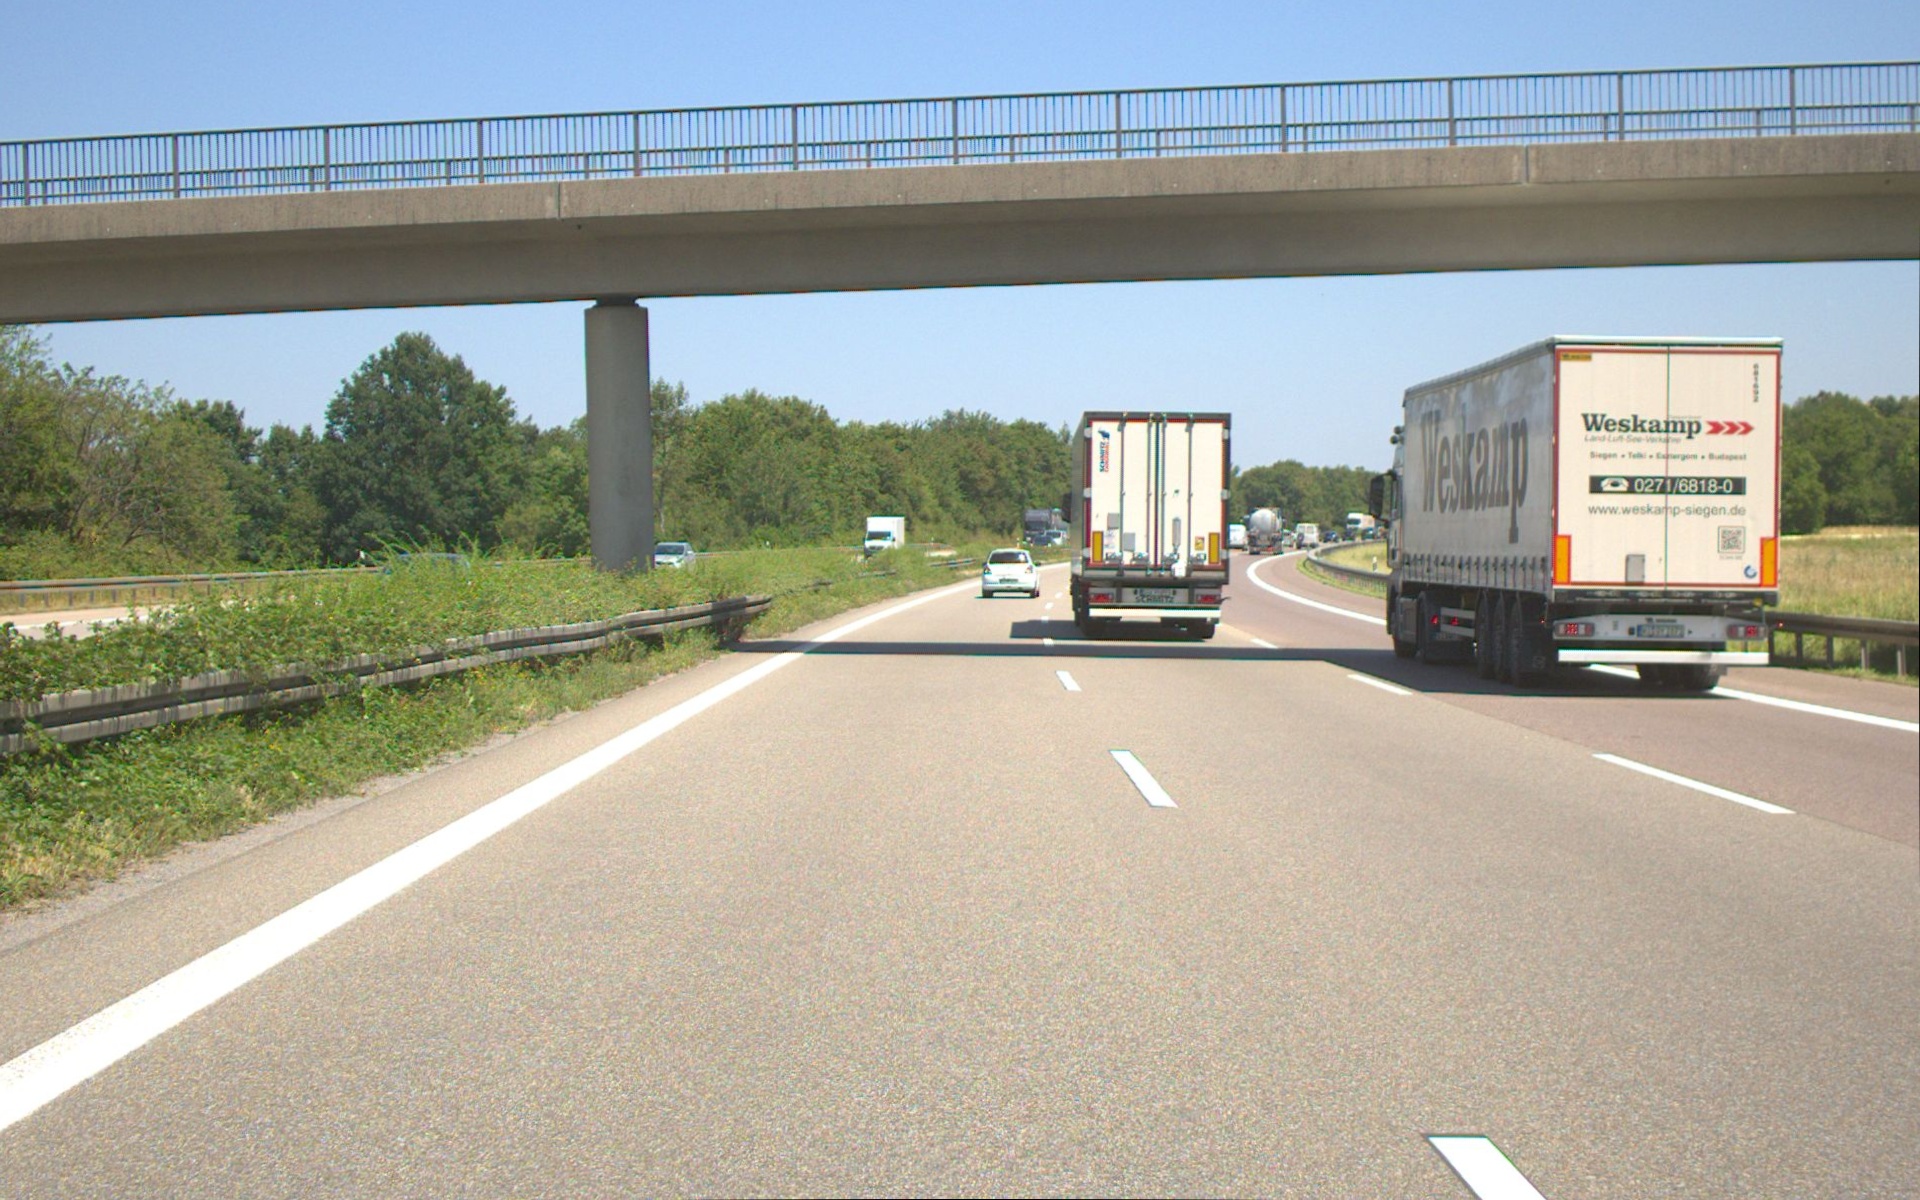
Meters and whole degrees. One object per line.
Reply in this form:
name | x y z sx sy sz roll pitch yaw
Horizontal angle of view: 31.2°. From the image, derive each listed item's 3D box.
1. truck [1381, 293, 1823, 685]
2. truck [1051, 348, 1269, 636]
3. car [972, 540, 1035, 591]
truck | 8.041 -1.410 45.820 3.181 4.289 16.018 1 1 1
truck | 3.709 -2.076 68.124 3.666 5.001 16.018 1 1 1
car | 1.396 -1.095 108.180 1.828 1.542 4.319 1 1 2
